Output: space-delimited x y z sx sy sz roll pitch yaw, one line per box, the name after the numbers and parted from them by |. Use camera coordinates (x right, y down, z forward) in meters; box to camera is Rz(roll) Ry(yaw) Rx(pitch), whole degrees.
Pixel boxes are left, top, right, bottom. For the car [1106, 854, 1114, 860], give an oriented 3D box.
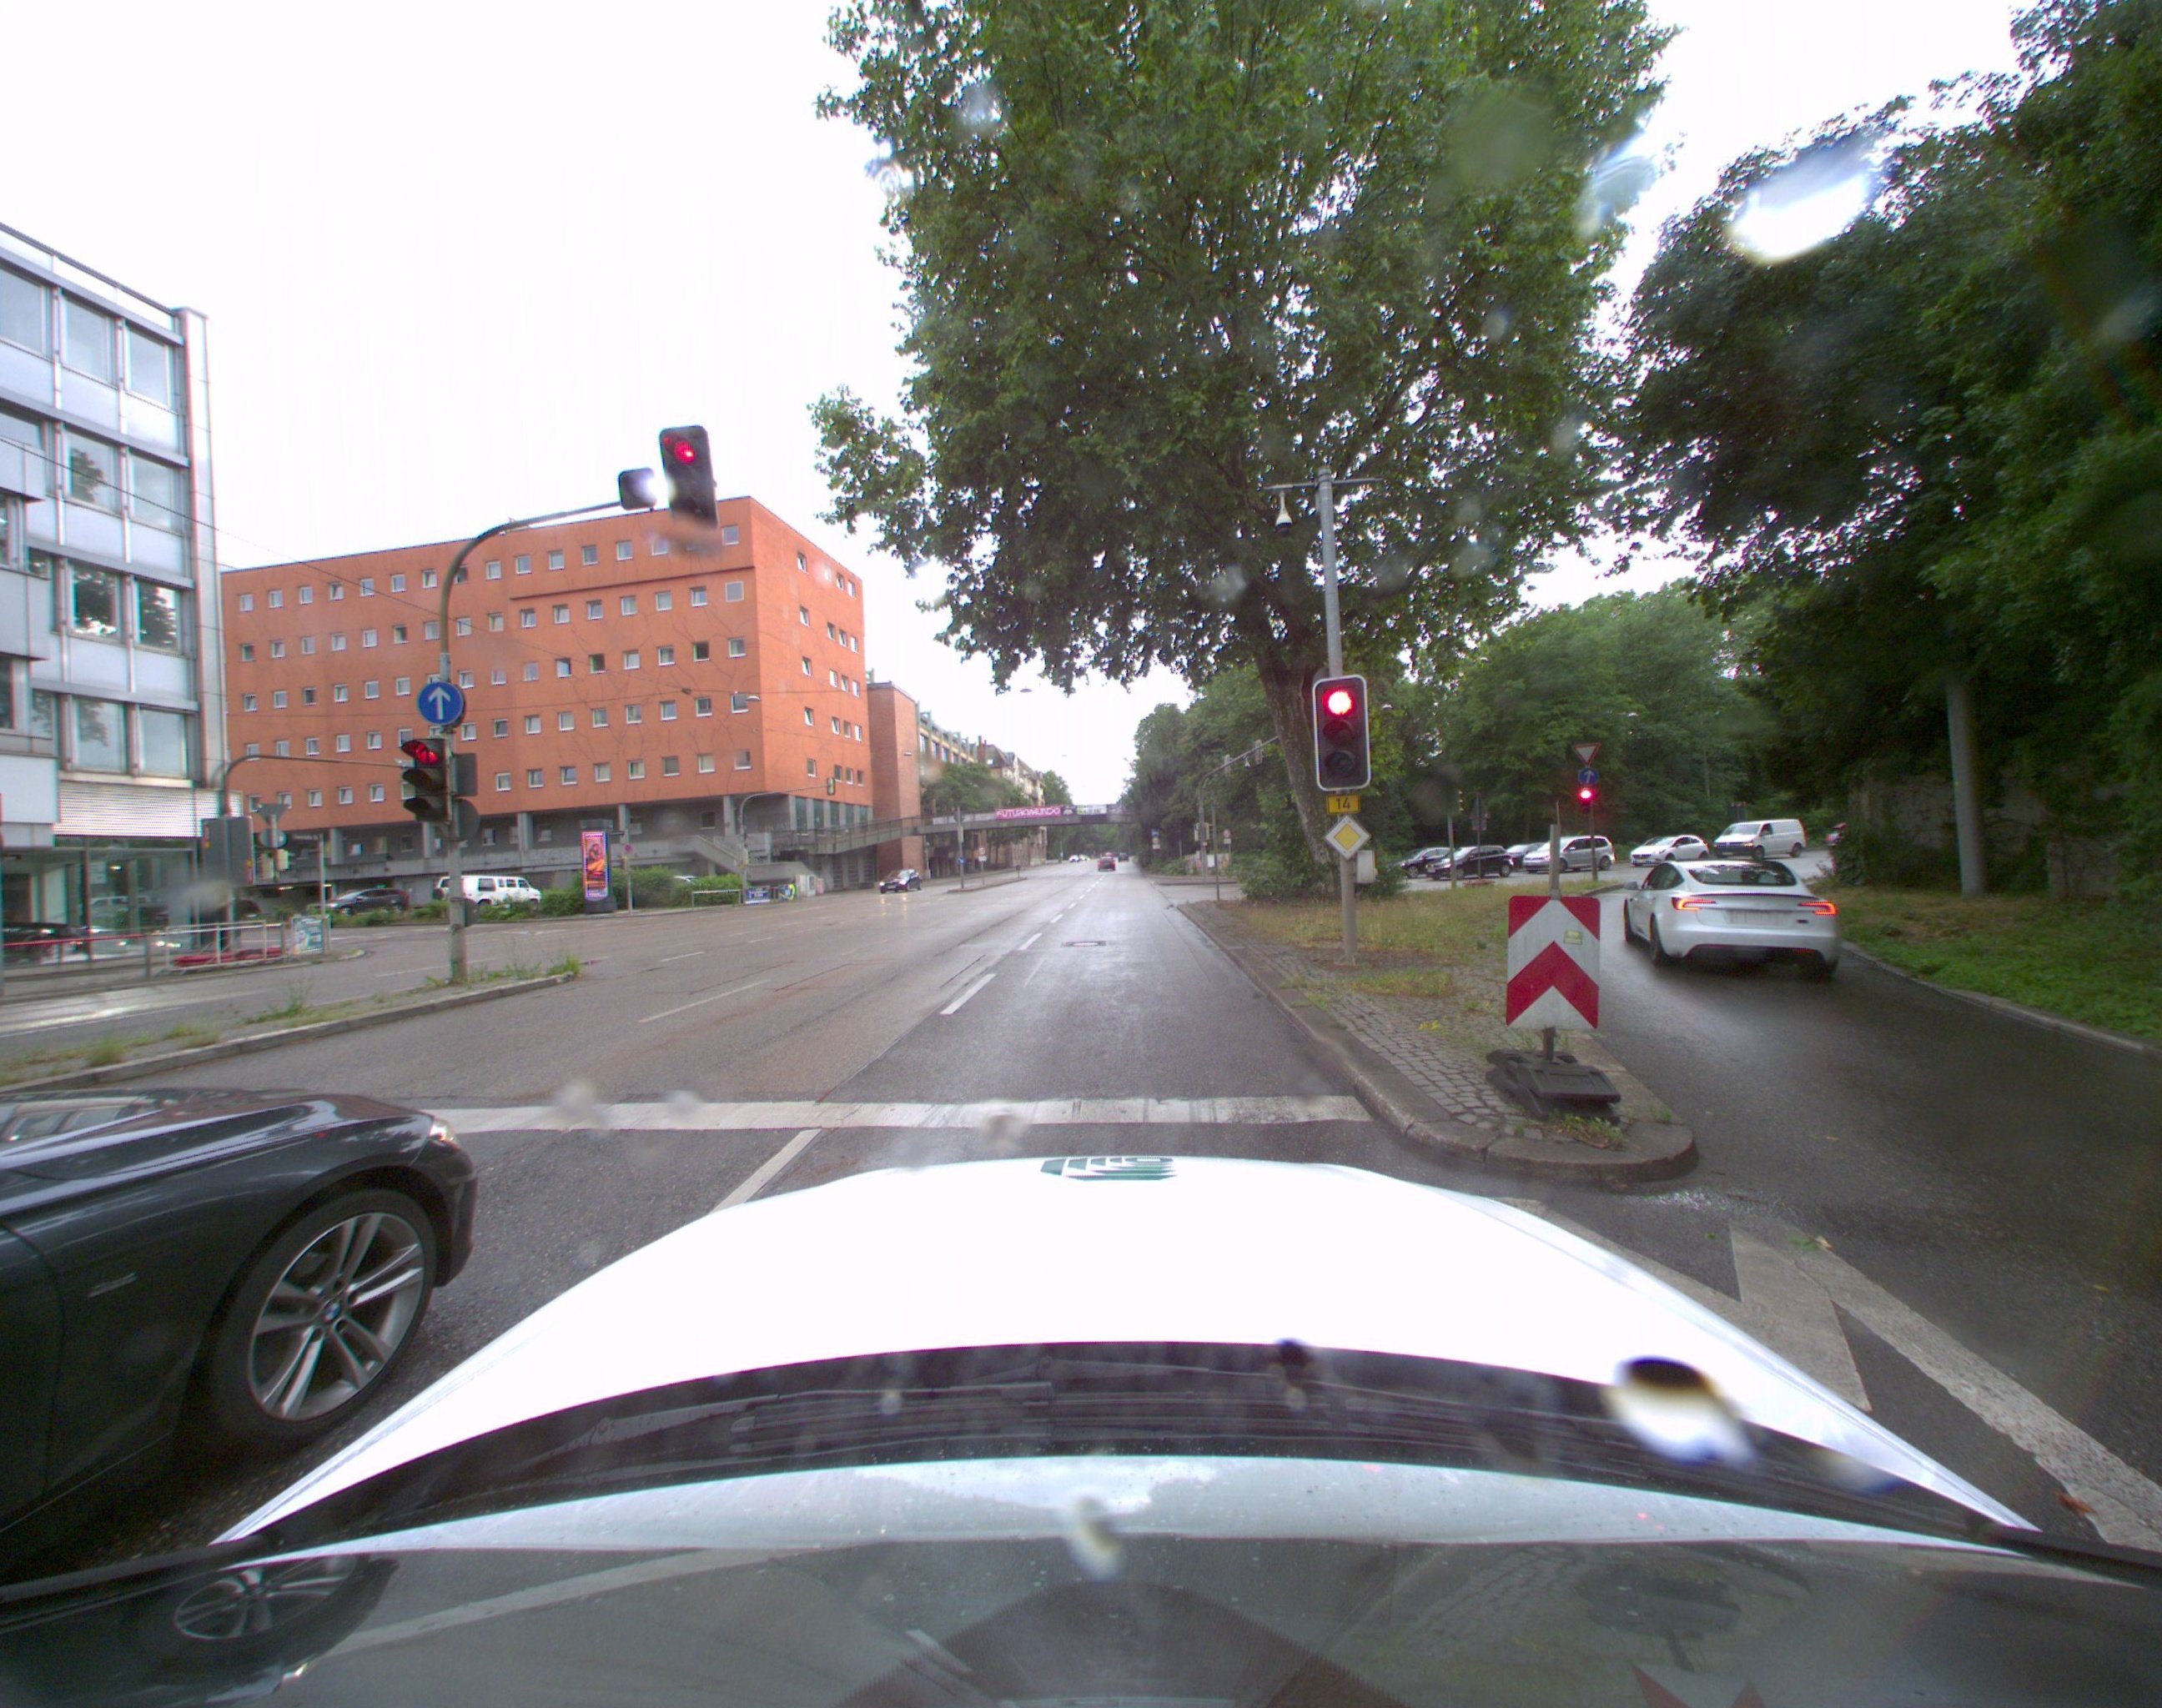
8.601 0.927 238.603 1.886 1.610 4.450 -2 -1 -4 | car

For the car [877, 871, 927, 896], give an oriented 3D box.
-11.219 1.806 51.252 1.677 1.419 4.222 -4 -2 7 | car

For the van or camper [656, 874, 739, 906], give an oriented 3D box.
-22.707 2.109 48.331 3.965 1.627 1.918 -3 0 8 | van or camper

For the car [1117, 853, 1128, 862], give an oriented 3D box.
7.000 0.583 138.646 1.835 1.453 3.778 0 -1 2 | car

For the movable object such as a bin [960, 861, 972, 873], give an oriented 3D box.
-15.240 1.762 107.564 1.277 1.518 1.274 -3 0 3 | movable object such as a bin

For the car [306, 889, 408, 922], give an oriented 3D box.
-40.243 2.825 45.401 1.699 1.612 4.097 -1 -1 9 | car

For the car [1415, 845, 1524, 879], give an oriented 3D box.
17.164 0.338 36.020 4.192 1.460 1.784 0 -1 -14 | car

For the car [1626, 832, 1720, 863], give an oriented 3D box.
28.847 -0.303 39.708 3.857 1.461 1.650 0 -1 -14 | car

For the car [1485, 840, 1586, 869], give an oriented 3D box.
22.976 0.032 41.218 4.438 1.402 1.821 0 -1 -14 | car

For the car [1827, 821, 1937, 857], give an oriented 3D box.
39.187 -0.710 39.857 4.279 1.680 1.940 0 -1 -15 | car

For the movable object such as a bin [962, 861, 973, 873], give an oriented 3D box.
-15.194 1.722 109.040 1.293 1.518 1.215 -3 0 3 | movable object such as a bin

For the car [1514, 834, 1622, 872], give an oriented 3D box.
22.577 -0.049 37.808 4.203 1.680 1.898 0 -1 -14 | car

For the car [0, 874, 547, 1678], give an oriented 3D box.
-2.953 0.835 0.736 1.769 1.458 4.480 -3 -1 3 | car

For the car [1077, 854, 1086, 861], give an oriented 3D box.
0.135 0.888 208.788 1.701 1.464 4.047 -3 -1 5 | car

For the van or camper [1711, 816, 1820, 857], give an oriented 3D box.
34.989 -0.888 41.657 4.861 1.947 1.896 -1 -1 -17 | van or camper

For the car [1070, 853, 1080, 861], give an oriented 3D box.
-1.306 0.640 183.991 1.881 1.610 4.461 -3 -1 4 | car

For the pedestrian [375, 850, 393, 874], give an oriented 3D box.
-54.511 0.650 63.691 0.757 1.839 0.727 -1 -1 11 | pedestrian

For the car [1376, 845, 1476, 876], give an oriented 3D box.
16.825 0.311 39.789 4.205 1.440 1.941 0 -1 -14 | car

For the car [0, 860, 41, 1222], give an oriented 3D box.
-5.997 0.846 1.689 1.801 1.656 4.449 0 -1 4 | car

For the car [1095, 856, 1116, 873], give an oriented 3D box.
2.546 1.047 84.674 1.998 1.643 4.376 -3 0 0 | car

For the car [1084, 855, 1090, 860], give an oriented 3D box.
1.703 1.039 235.189 1.676 1.436 3.865 -3 -1 3 | car

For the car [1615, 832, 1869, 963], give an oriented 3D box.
9.096 0.449 11.684 1.835 1.448 4.646 2 2 27 | car

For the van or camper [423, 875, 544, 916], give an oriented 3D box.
-32.822 2.228 44.981 2.113 1.977 5.466 -1 -1 9 | van or camper
